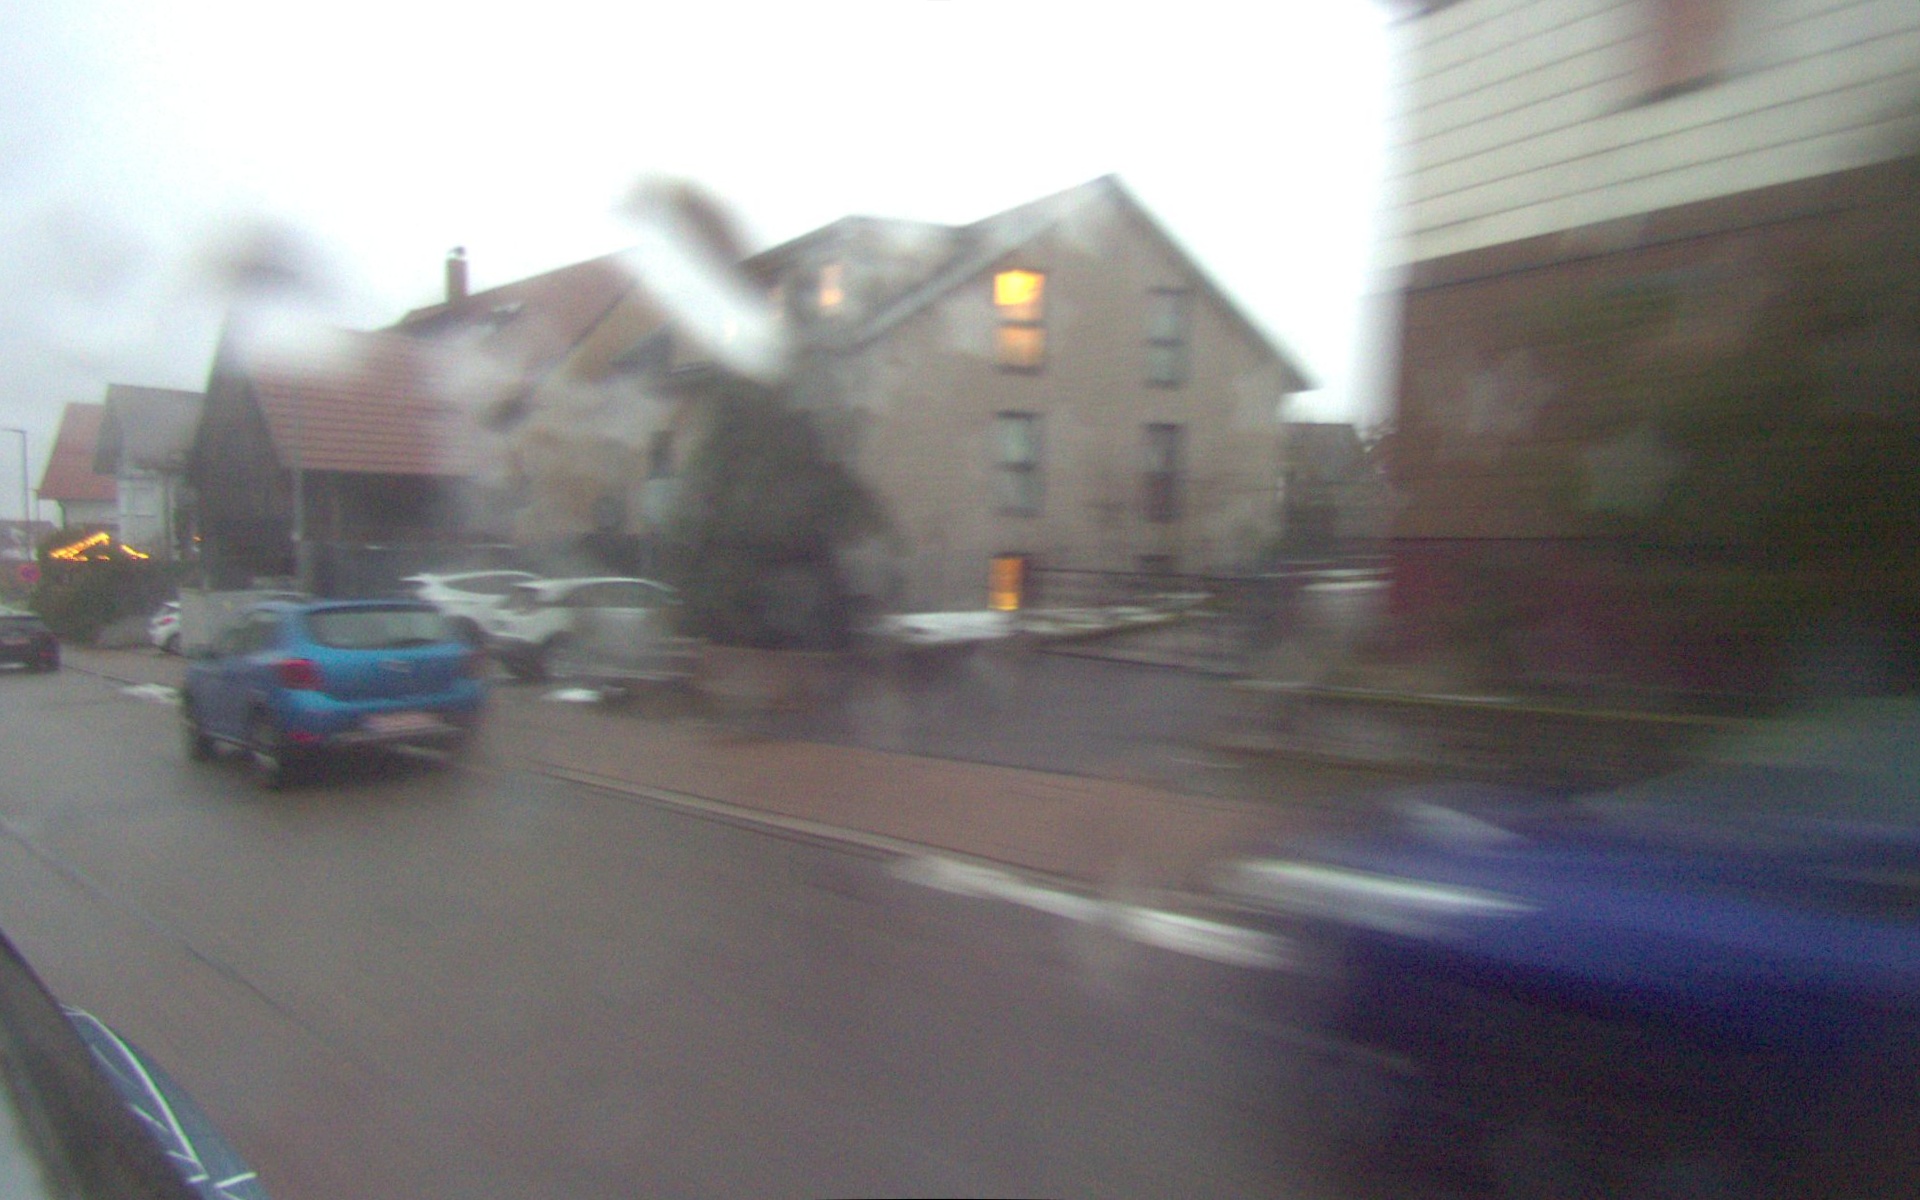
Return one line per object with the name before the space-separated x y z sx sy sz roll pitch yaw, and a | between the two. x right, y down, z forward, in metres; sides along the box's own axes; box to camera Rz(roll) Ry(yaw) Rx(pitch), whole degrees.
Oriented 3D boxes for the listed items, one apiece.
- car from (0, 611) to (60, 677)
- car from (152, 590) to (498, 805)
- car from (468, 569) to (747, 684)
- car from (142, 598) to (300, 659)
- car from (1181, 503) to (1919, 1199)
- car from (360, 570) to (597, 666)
car | -23.568 1.016 24.666 5.073 1.405 1.858 0 1 41
car | -6.124 0.710 9.557 4.174 1.596 1.666 0 1 41
car | -5.790 0.353 16.865 3.939 1.630 1.891 -3 2 -43
car | -21.320 0.781 29.255 1.774 1.539 3.424 0 2 45
car | 2.763 0.592 1.817 4.306 1.515 1.776 -1 -1 40
car | -9.871 0.298 20.929 2.000 1.759 3.944 -1 1 43
